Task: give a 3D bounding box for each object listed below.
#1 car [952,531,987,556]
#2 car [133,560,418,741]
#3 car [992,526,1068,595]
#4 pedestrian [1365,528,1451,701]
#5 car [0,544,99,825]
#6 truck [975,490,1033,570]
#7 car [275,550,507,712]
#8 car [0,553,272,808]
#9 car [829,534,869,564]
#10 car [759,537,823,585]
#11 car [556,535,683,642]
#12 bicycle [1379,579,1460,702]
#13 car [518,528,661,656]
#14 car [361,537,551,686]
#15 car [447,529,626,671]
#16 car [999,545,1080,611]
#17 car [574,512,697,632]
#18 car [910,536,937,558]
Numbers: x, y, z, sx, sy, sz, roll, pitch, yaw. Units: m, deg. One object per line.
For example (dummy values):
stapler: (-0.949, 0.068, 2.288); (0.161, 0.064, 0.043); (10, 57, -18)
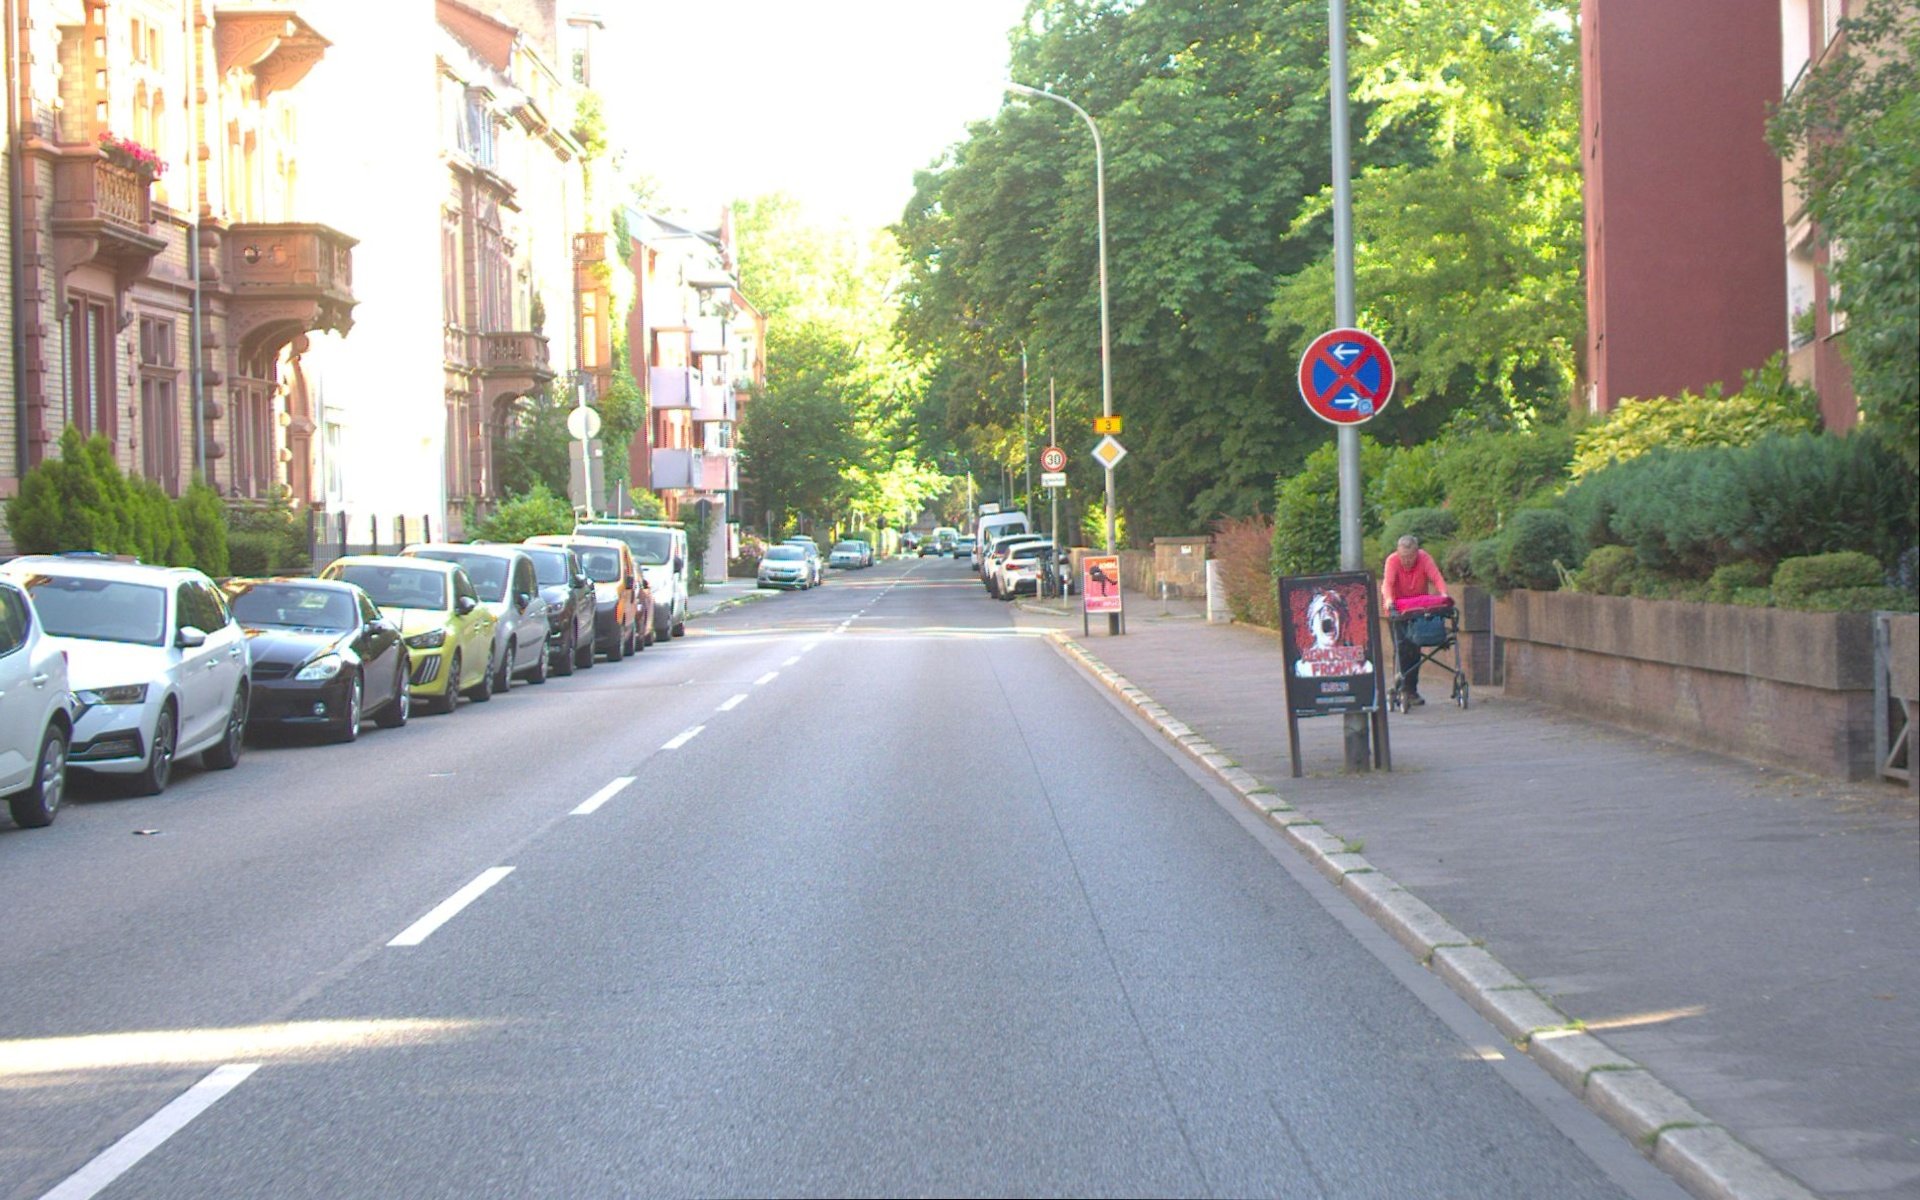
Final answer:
car: (0.642, -3.747, 227.940); (1.993, 1.486, 4.471); (-2, 2, -3)
car: (-5.656, 0.372, 28.823); (1.702, 1.362, 3.860); (0, 1, -1)
car: (1.914, -1.092, 94.090); (1.993, 1.731, 4.000); (-2, 2, 1)
pedestrian: (3.690, 0.110, 28.351); (0.597, 1.398, 0.668); (0, 2, -2)
car: (-6.027, 0.459, 18.633); (1.702, 1.497, 4.021); (0, 1, 0)
truck: (1.635, -2.669, 129.720); (1.993, 2.887, 4.471); (-2, 2, -1)
car: (-5.544, 0.288, 33.900); (1.702, 1.498, 4.073); (0, 0, -1)
car: (-5.979, 0.470, 23.588); (1.702, 1.531, 4.550); (0, 1, -1)
car: (-6.043, -2.786, 187.709); (1.993, 1.486, 4.471); (-2, 2, 0)
car: (-5.926, -1.392, 121.013); (1.993, 1.486, 4.471); (-2, 2, 0)
car: (-5.352, -0.215, 54.455); (1.702, 1.614, 4.118); (0, 1, -1)
bicycle: (3.705, 0.325, 27.749); (0.566, 0.967, 0.492); (0, 2, -1)
car: (-5.241, -0.149, 48.964); (1.702, 1.732, 3.857); (0, 1, -1)
car: (-5.651, 0.091, 38.907); (1.702, 1.578, 3.635); (0, 1, -1)
car: (-5.367, -0.046, 43.999); (1.702, 1.702, 4.440); (0, 1, 1)
car: (2.054, -0.592, 88.603); (1.993, 1.512, 4.000); (-2, 2, 1)
car: (-5.585, -0.521, 59.646); (1.793, 2.003, 4.698); (0, 1, -1)
car: (-2.719, -3.976, 257.874); (1.993, 1.486, 4.471); (-2, 2, 0)
